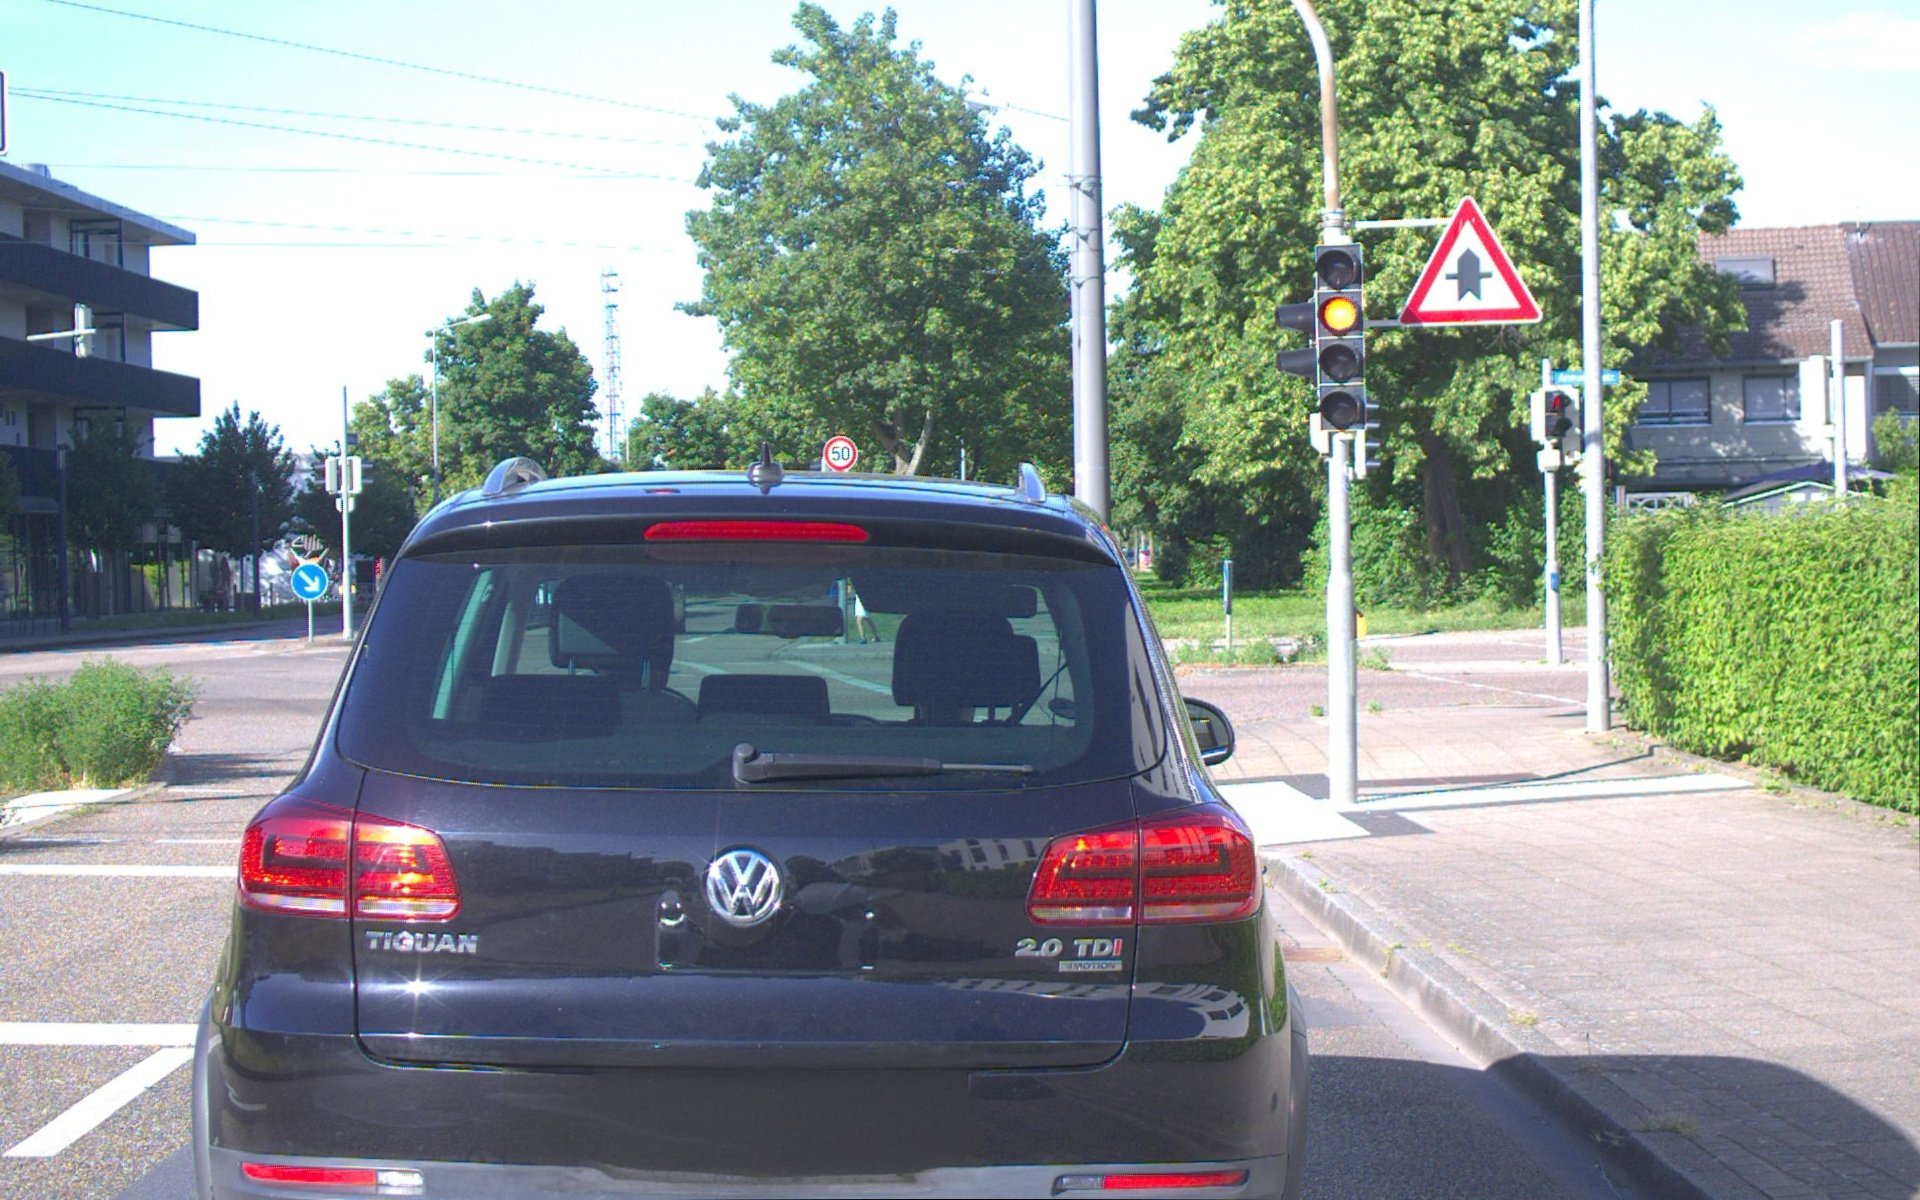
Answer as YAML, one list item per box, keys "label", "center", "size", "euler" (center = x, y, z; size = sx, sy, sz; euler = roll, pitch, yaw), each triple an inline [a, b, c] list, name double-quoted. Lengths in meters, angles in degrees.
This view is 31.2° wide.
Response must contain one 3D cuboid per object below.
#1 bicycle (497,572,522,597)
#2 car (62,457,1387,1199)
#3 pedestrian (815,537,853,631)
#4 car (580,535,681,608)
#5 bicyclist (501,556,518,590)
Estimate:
- label: "bicycle"
  center: [-16.058, -0.548, 122.631]
  size: [0.496, 0.845, 2.078]
  euler: [0, 1, 3]
- label: "car"
  center: [-0.404, 0.579, 6.967]
  size: [1.905, 1.637, 4.000]
  euler: [0, 1, -2]
- label: "pedestrian"
  center: [-2.205, -0.286, 60.172]
  size: [0.603, 1.634, 0.529]
  euler: [0, 1, 4]
- label: "car"
  center: [-6.517, -0.587, 68.323]
  size: [1.751, 1.382, 4.000]
  euler: [0, 1, -2]
- label: "bicyclist"
  center: [-16.049, -0.962, 122.553]
  size: [0.474, 1.219, 0.712]
  euler: [0, 1, 3]
